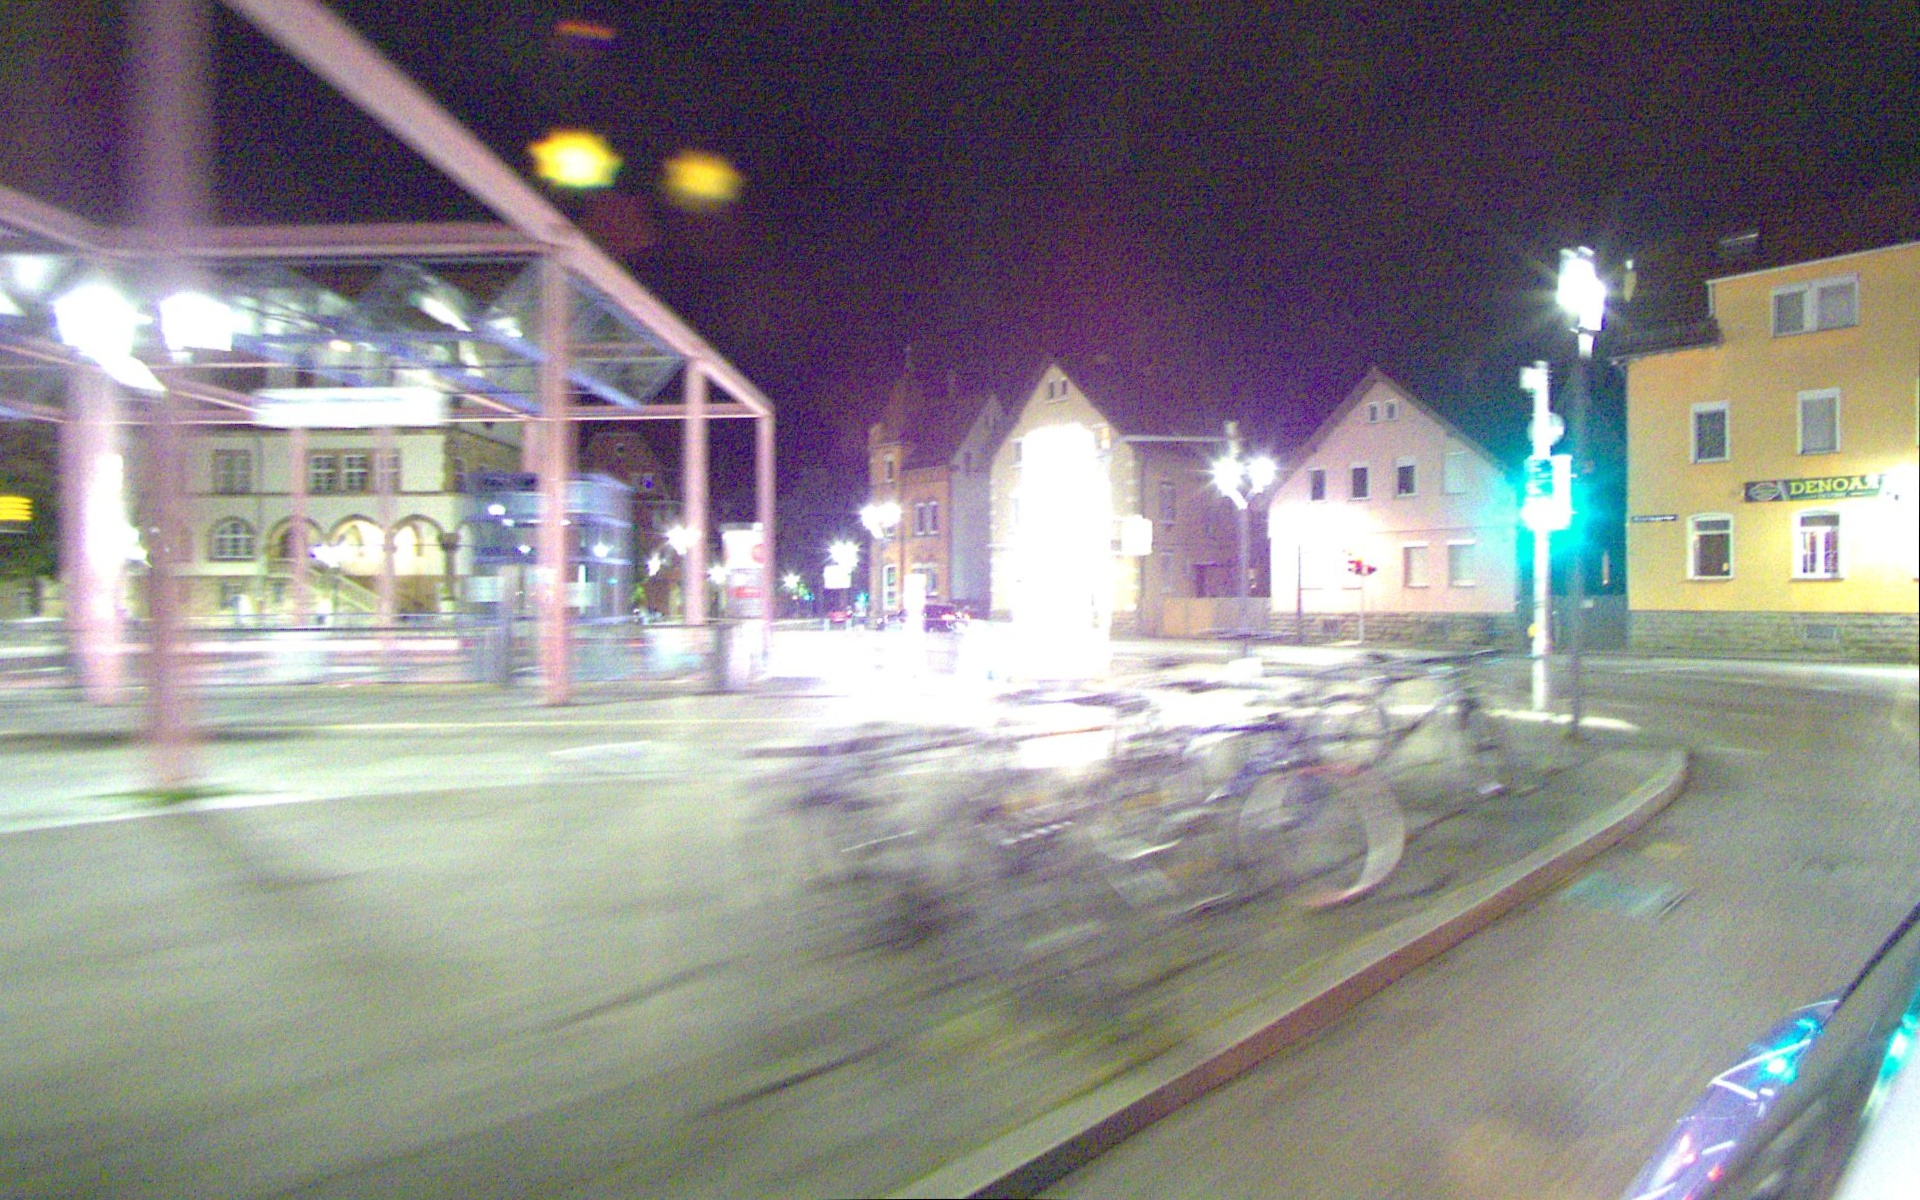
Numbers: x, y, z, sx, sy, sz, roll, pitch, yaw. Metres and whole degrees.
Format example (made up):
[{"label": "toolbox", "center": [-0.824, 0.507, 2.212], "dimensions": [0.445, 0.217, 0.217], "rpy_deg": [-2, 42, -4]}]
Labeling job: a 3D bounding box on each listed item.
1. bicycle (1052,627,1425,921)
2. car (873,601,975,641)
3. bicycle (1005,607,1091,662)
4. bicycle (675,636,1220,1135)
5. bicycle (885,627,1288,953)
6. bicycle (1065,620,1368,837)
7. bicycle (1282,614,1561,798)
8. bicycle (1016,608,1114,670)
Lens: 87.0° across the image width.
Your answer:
[{"label": "bicycle", "center": [1.283, 0.727, 4.917], "dimensions": [0.632, 1.149, 1.655], "rpy_deg": [0, 0, -44]}, {"label": "car", "center": [-1.549, 0.881, 43.031], "dimensions": [4.218, 1.605, 1.718], "rpy_deg": [-1, 0, 37]}, {"label": "bicycle", "center": [1.895, 0.737, 21.965], "dimensions": [1.767, 1.142, 0.651], "rpy_deg": [0, -1, -5]}, {"label": "bicycle", "center": [-0.150, 0.723, 3.371], "dimensions": [1.865, 1.149, 0.714], "rpy_deg": [-1, 0, 44]}, {"label": "bicycle", "center": [0.487, 0.714, 4.546], "dimensions": [1.788, 1.149, 0.619], "rpy_deg": [-1, 0, 44]}, {"label": "bicycle", "center": [1.561, 0.717, 6.394], "dimensions": [0.676, 1.155, 1.770], "rpy_deg": [0, 0, -44]}, {"label": "bicycle", "center": [3.301, 0.687, 7.337], "dimensions": [0.814, 1.155, 1.656], "rpy_deg": [0, 0, -44]}, {"label": "bicycle", "center": [2.001, 0.734, 19.462], "dimensions": [1.767, 1.142, 0.651], "rpy_deg": [0, -1, -5]}]
